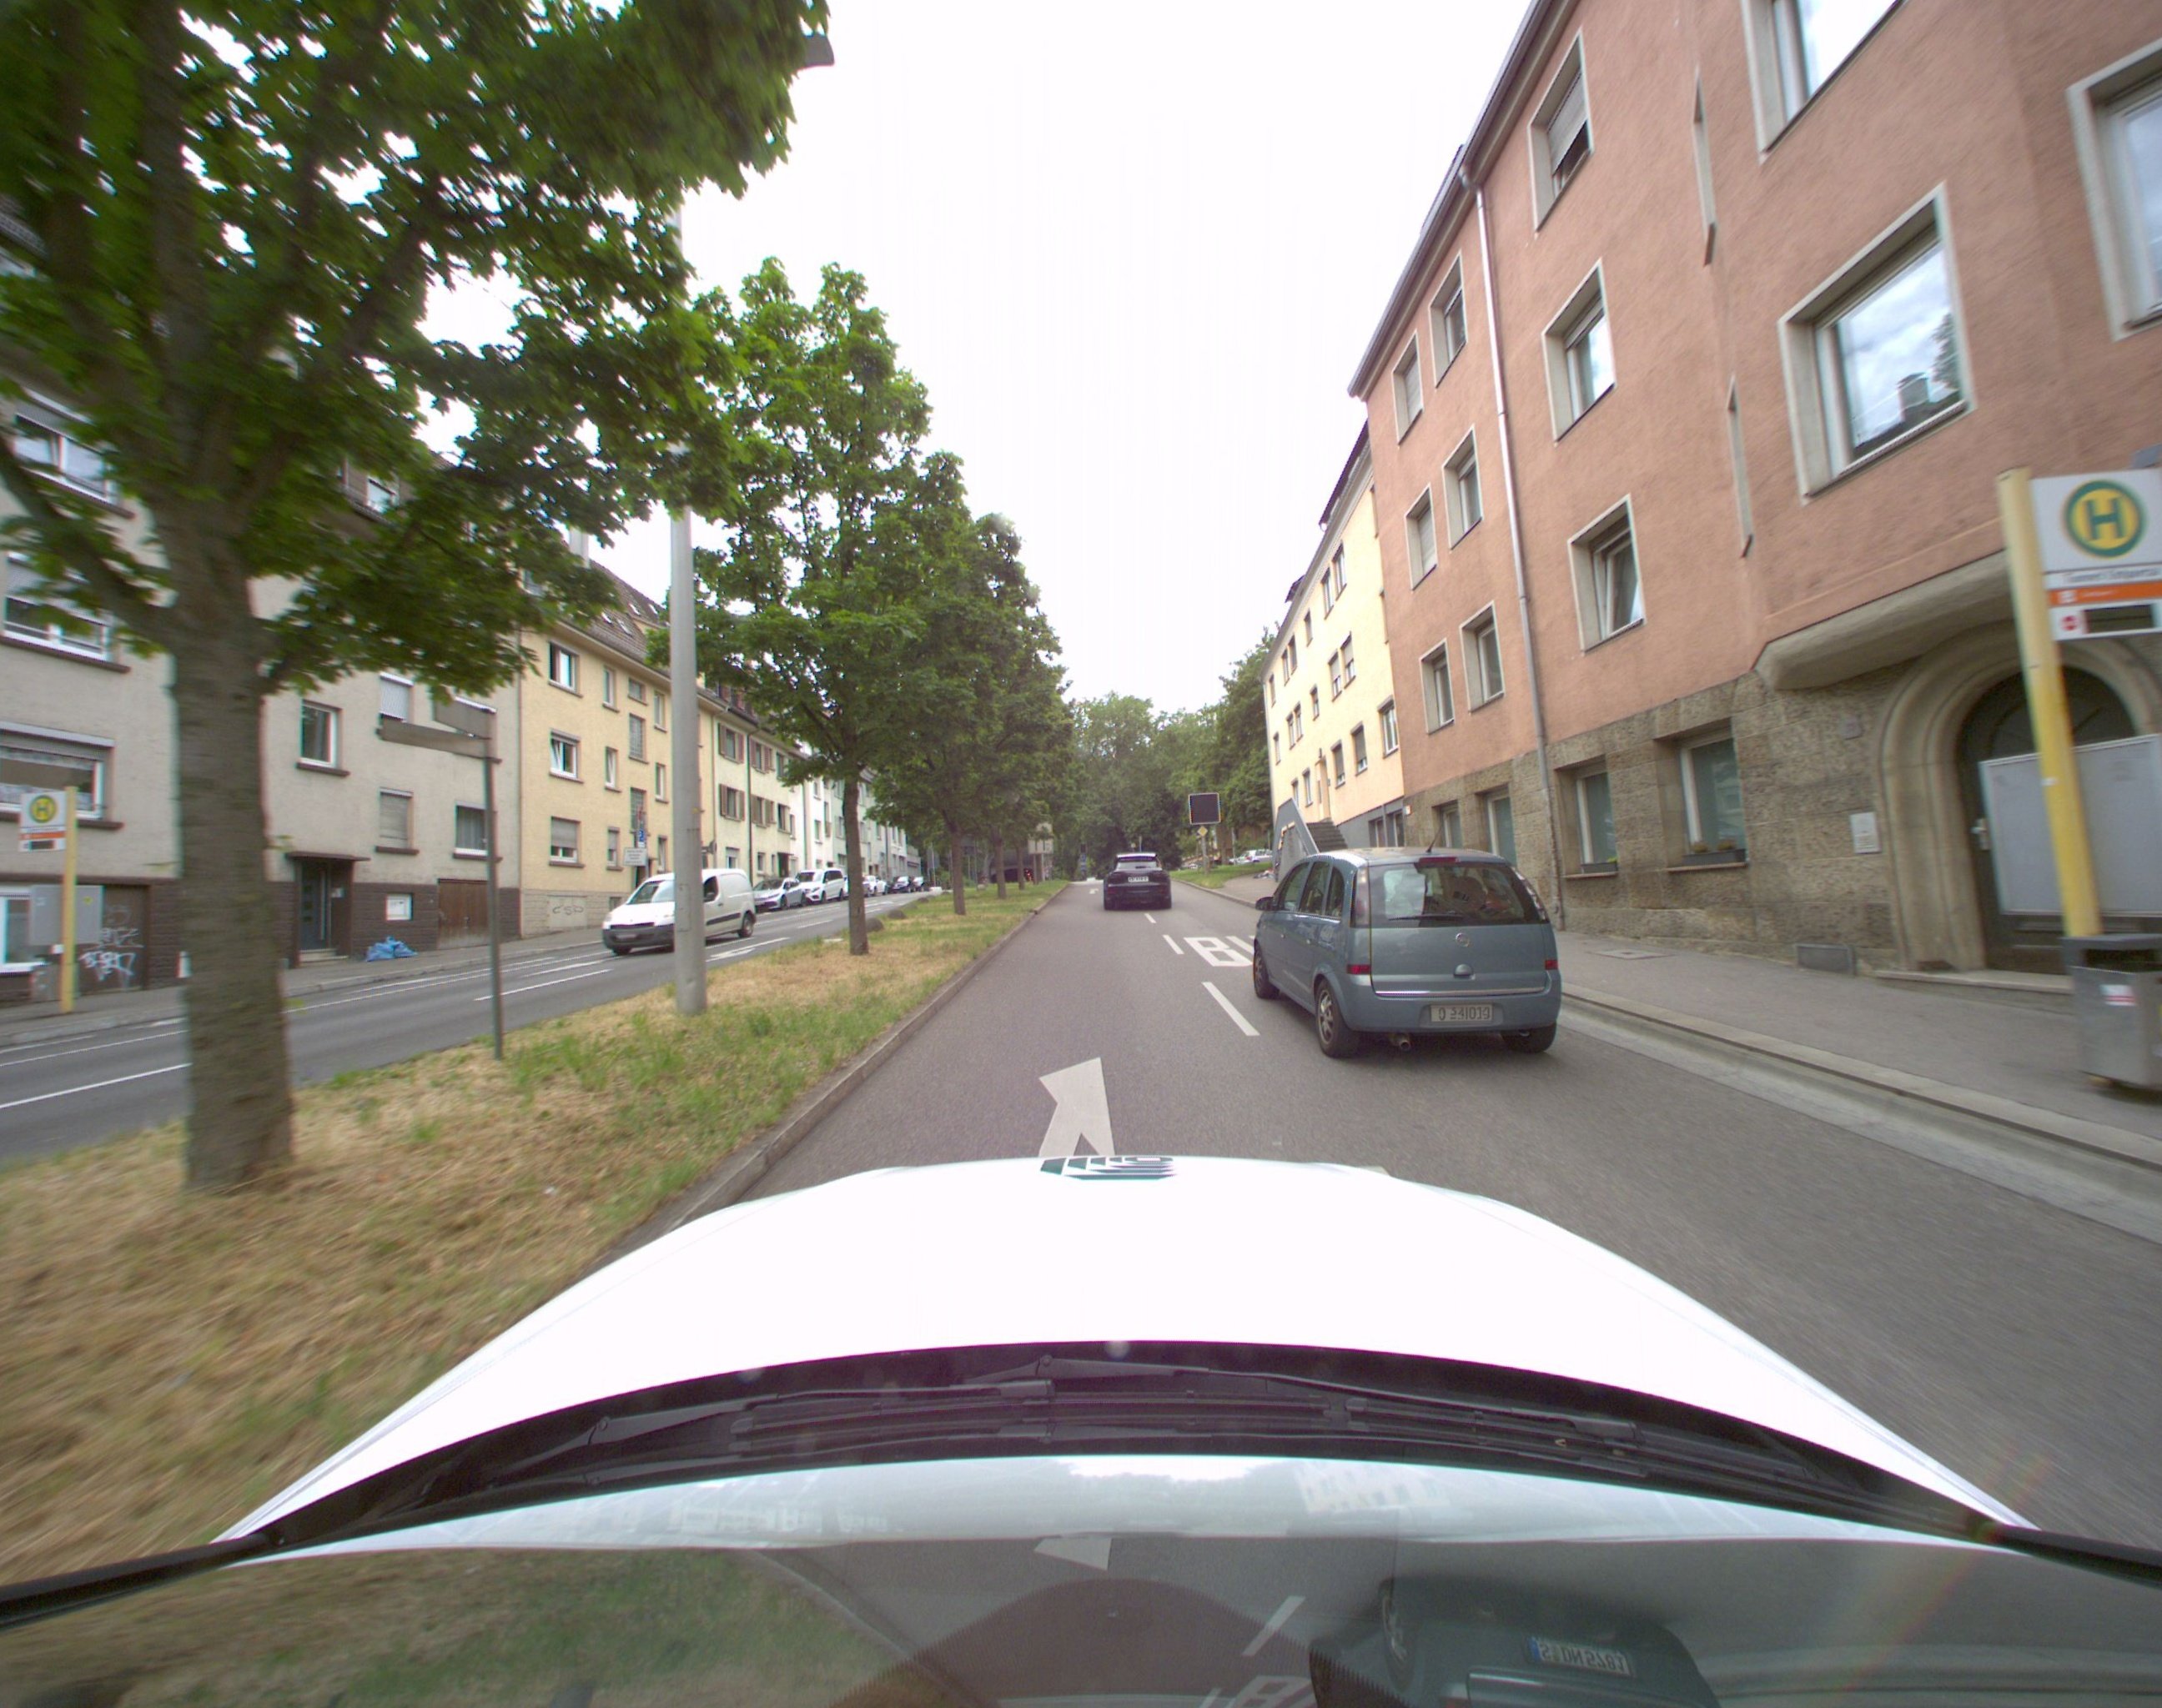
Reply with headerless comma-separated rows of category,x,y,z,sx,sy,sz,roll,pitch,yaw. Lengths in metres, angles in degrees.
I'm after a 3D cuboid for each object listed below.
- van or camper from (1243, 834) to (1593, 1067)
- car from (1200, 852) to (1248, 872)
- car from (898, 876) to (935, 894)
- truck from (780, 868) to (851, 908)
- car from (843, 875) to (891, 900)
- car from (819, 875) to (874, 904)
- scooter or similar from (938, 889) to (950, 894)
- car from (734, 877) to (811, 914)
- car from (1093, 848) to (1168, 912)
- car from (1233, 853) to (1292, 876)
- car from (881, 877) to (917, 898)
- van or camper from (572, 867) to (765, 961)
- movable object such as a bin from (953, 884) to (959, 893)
van or camper,2.702,0.686,7.479,1.729,1.578,3.646,-1,-1,1
car,12.164,0.665,69.048,4.024,1.418,1.975,-3,-2,-44
car,-14.087,2.643,69.996,1.986,1.400,4.518,-4,-2,1
truck,-14.509,1.809,44.821,1.987,1.920,5.346,-4,-1,0
car,-14.486,2.268,55.367,1.986,1.474,4.159,-4,-1,1
car,-14.410,2.138,50.337,1.987,1.552,4.381,-4,-1,0
scooter or similar,-13.098,3.586,77.850,1.125,0.288,1.093,-4,-3,-15
car,-14.642,1.933,38.925,1.987,1.552,4.157,-4,-1,0
car,1.498,0.792,24.989,1.986,1.653,4.002,-4,-2,2
car,14.242,0.810,64.048,4.130,1.428,1.851,-5,0,-19
car,-14.419,2.649,64.661,1.989,1.423,4.207,-4,-1,-3
van or camper,-9.351,1.266,19.000,1.901,1.761,4.656,-5,-1,1
movable object such as a bin,-13.327,3.710,86.748,0.516,0.968,0.442,0,-4,-14
